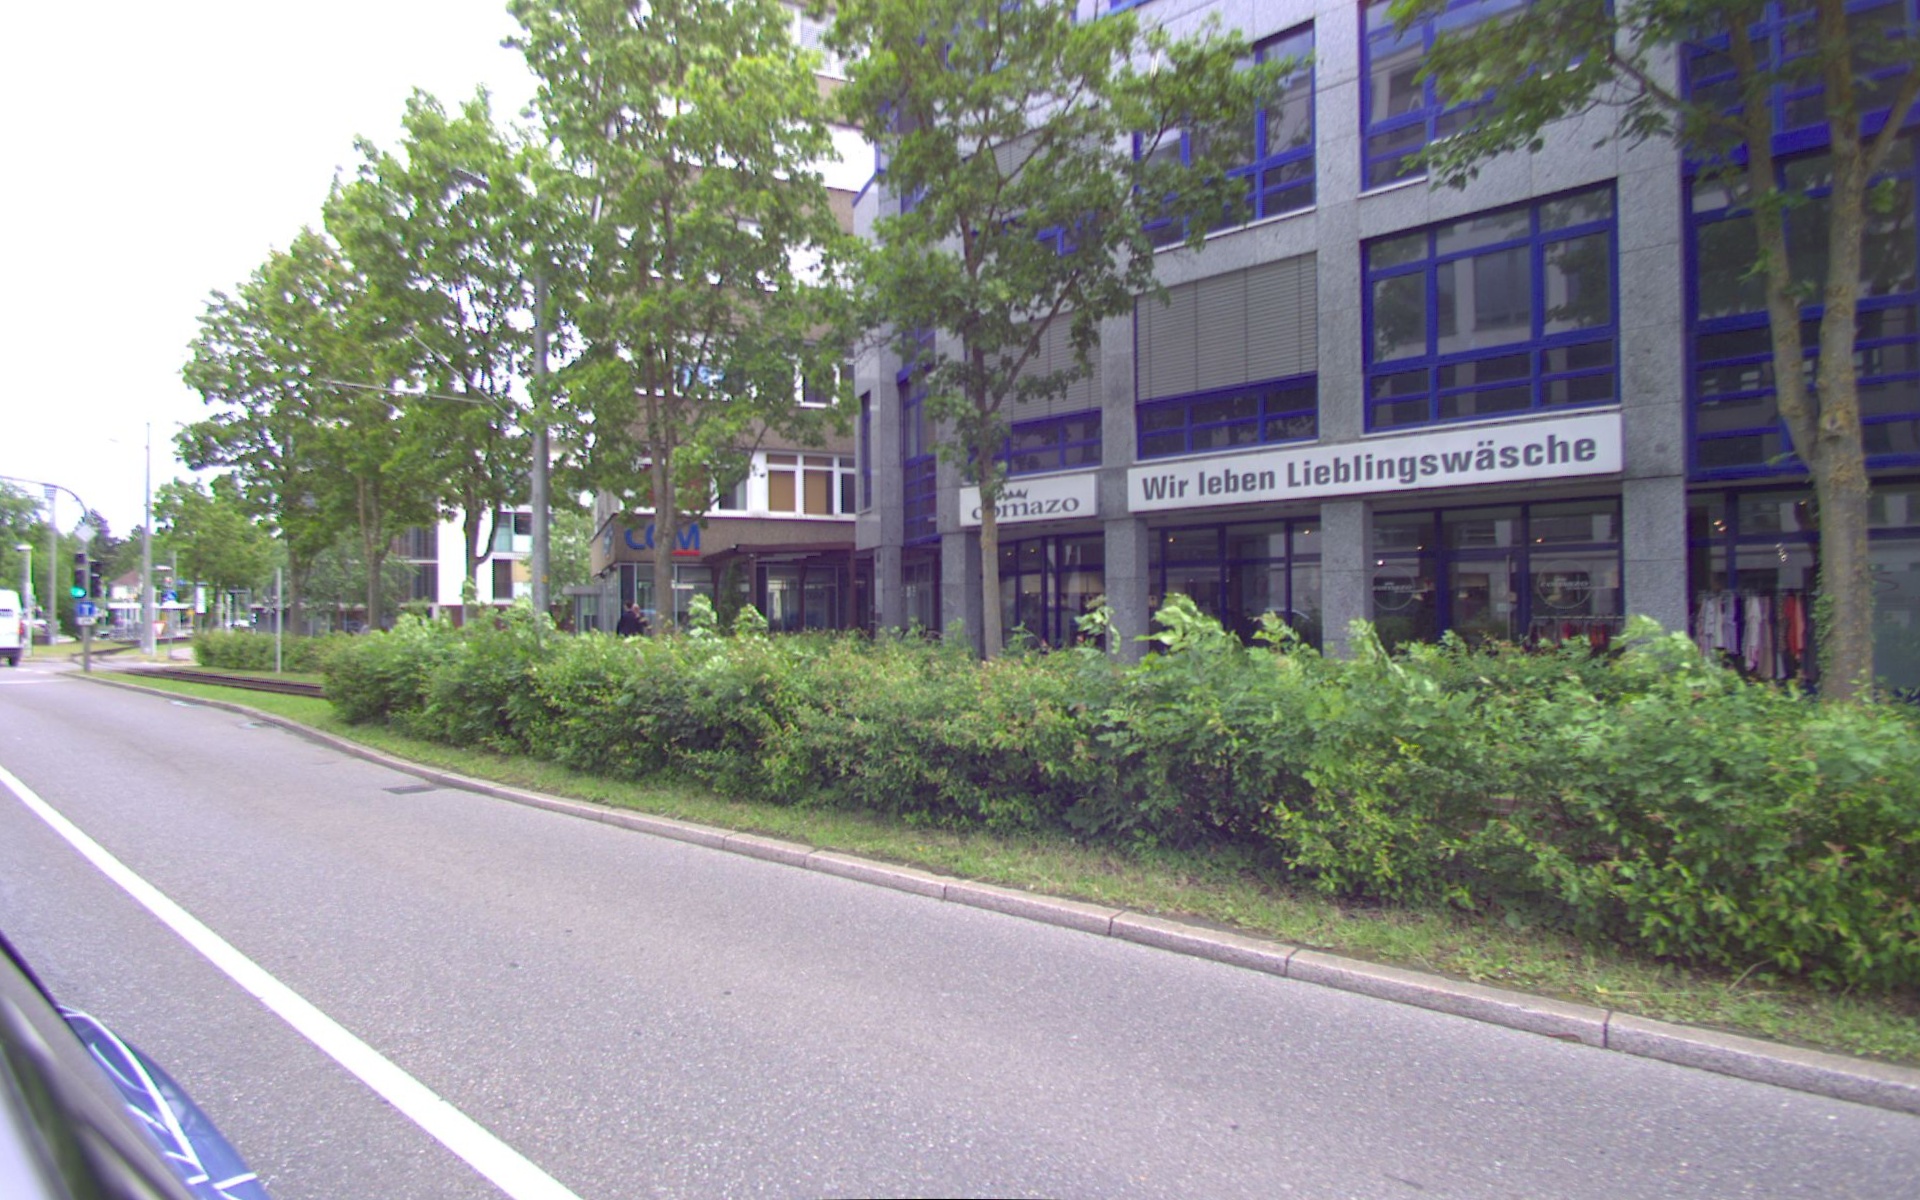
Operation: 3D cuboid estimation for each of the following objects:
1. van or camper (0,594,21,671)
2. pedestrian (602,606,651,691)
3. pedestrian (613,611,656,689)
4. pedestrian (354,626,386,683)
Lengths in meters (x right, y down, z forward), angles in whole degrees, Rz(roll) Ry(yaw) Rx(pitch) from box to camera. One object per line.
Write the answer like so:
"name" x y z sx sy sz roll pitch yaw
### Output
"van or camper" -37.092 1.201 37.796 6.144 2.754 2.087 -1 0 39
"pedestrian" -7.792 1.104 23.653 0.731 1.938 0.805 -1 0 40
"pedestrian" -8.232 1.244 25.580 0.731 1.908 0.766 -1 0 40
"pedestrian" -19.285 1.760 33.060 0.730 1.819 0.672 -1 0 36
